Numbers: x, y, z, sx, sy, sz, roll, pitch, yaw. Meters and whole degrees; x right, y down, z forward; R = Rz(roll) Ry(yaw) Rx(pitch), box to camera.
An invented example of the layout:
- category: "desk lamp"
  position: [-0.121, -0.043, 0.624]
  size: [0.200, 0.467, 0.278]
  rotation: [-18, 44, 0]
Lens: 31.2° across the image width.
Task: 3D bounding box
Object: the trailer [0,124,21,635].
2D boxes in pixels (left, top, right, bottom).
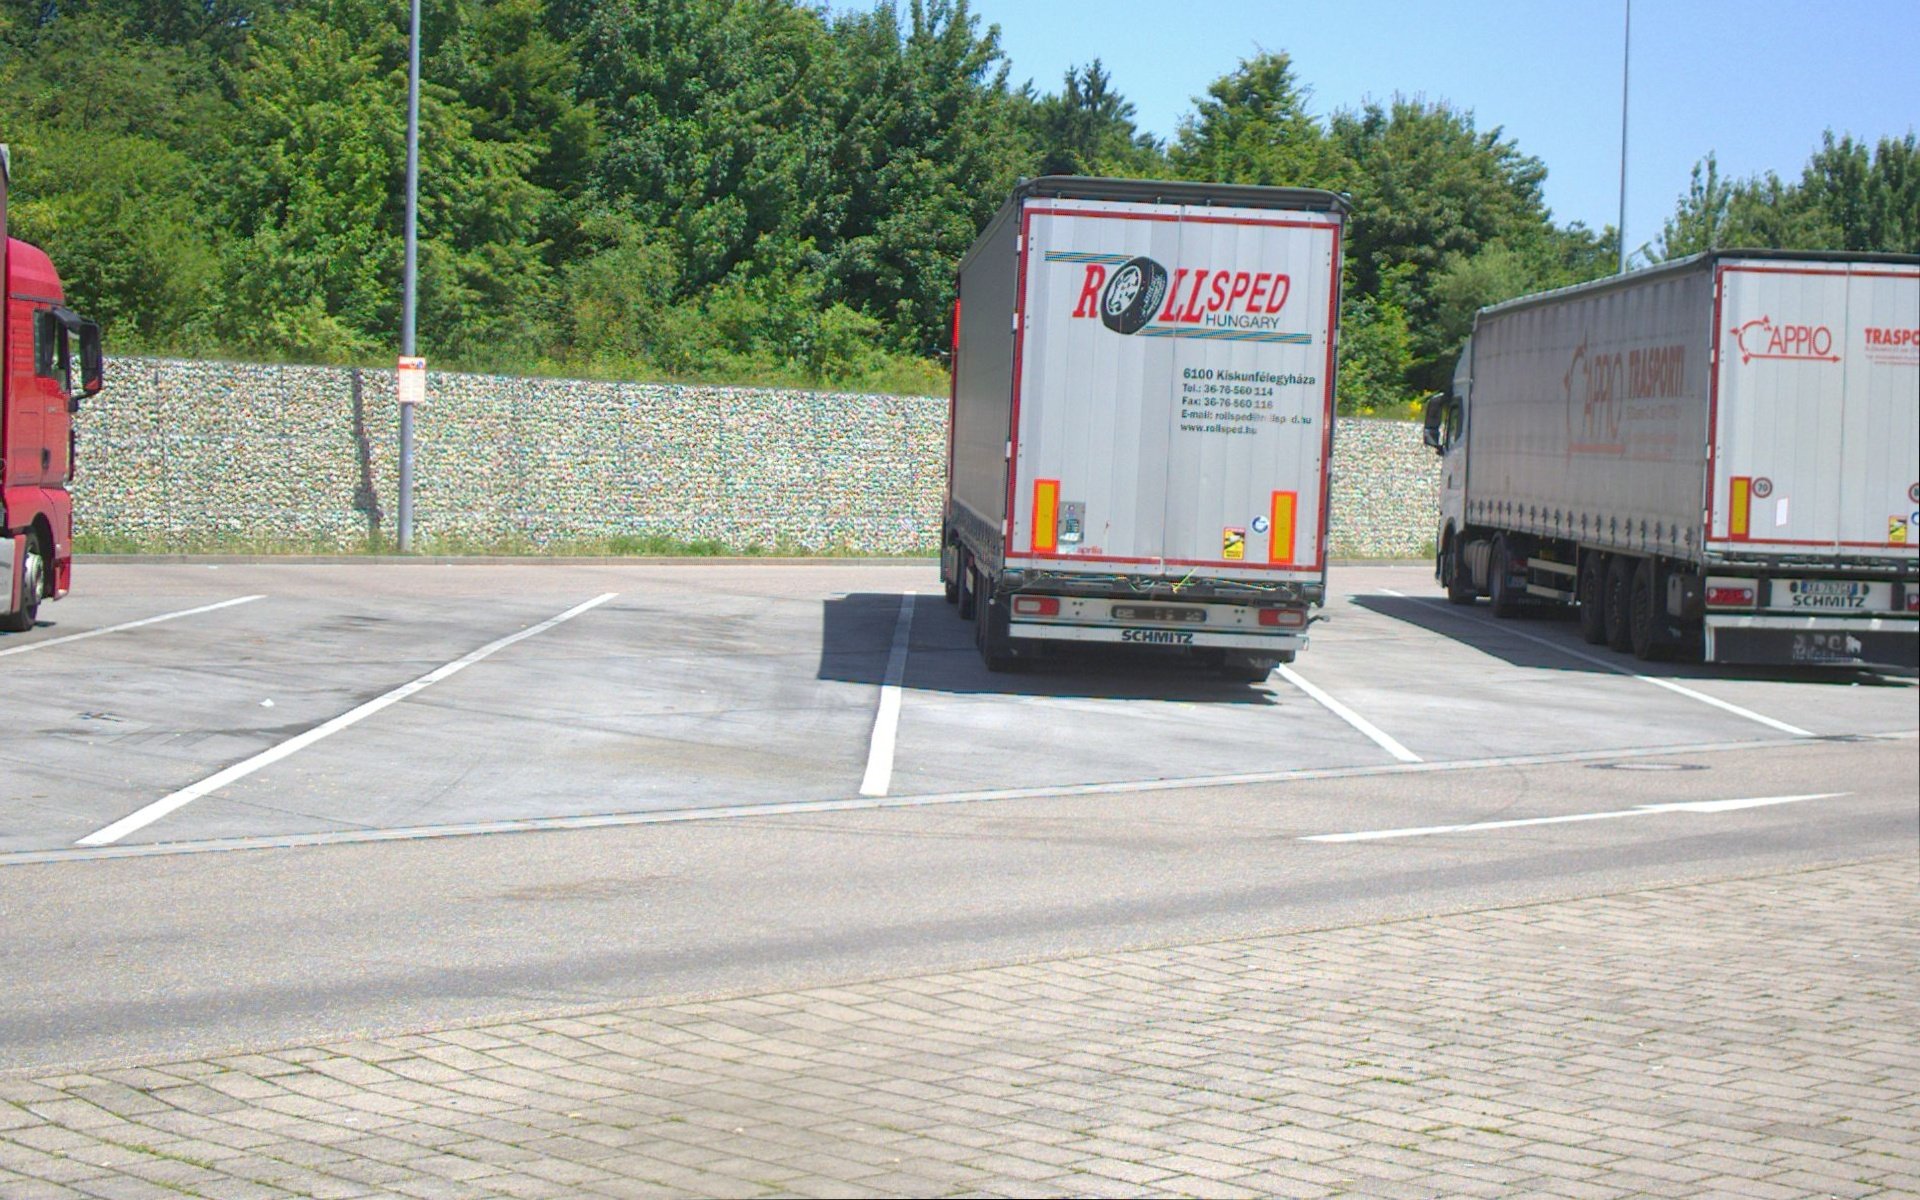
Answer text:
- category: "trailer"
  position: [-9.142, -1.488, 21.296]
  size: [2.906, 4.118, 13.725]
  rotation: [2, 3, -1]

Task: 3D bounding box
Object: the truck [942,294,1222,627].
- category: "truck"
  position: [1.297, -1.624, 39.804]
  size: [2.852, 3.472, 5.483]
  rotation: [2, 2, -1]

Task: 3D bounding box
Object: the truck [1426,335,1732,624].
- category: "truck"
  position: [8.070, -1.618, 45.493]
  size: [2.852, 3.472, 5.483]
  rotation: [2, 2, -1]

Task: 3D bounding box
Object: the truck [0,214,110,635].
- category: "truck"
  position: [-9.232, -1.503, 28.734]
  size: [2.852, 3.416, 5.483]
  rotation: [2, 2, -1]

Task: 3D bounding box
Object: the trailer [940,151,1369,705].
- category: "trailer"
  position: [1.445, -1.618, 33.191]
  size: [2.906, 4.118, 13.725]
  rotation: [2, 3, -1]

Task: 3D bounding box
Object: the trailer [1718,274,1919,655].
- category: "trailer"
  position: [11.799, -1.524, 39.433]
  size: [2.838, 4.118, 13.724]
  rotation: [2, 3, -1]

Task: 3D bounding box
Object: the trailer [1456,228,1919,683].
- category: "trailer"
  position: [8.162, -1.622, 38.681]
  size: [2.838, 4.118, 13.724]
  rotation: [2, 3, -1]
